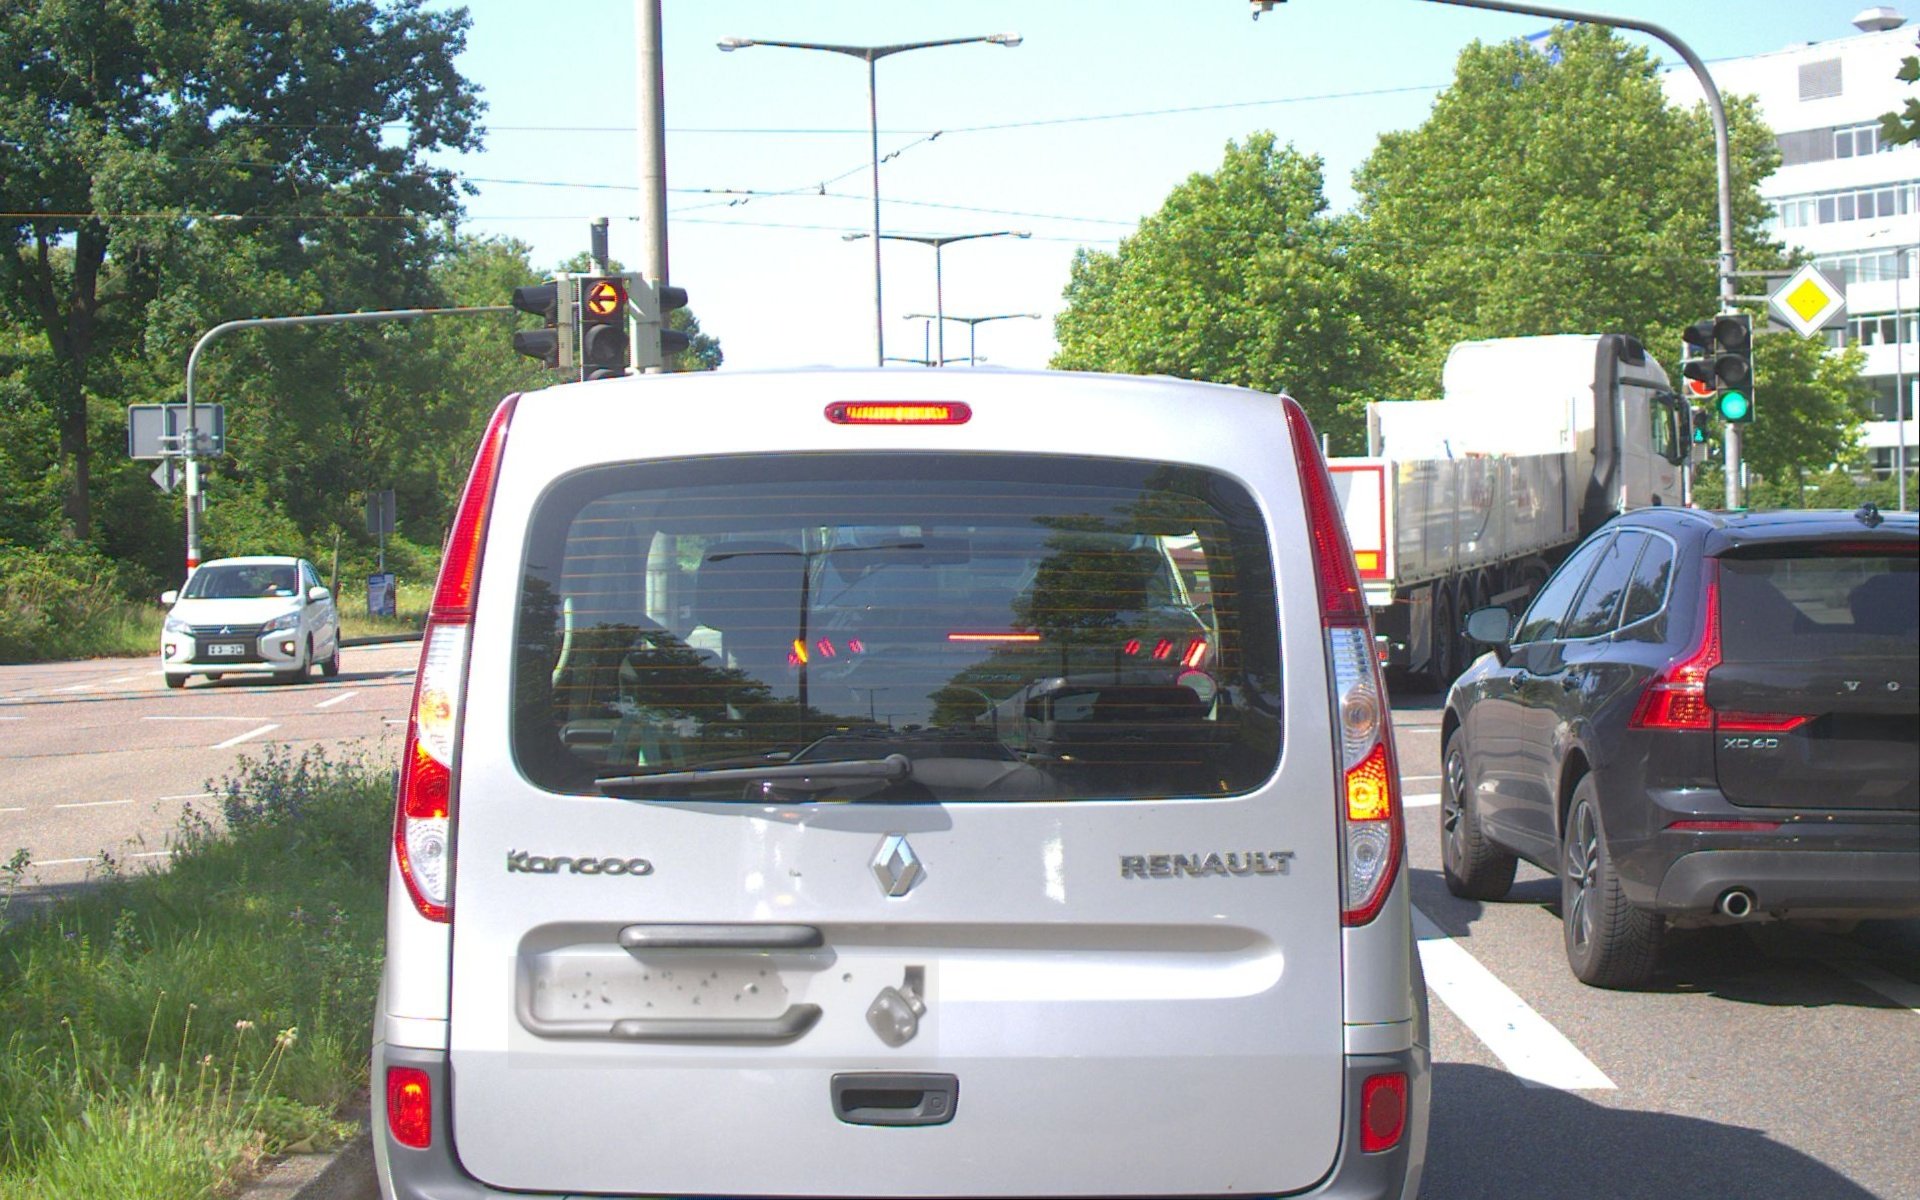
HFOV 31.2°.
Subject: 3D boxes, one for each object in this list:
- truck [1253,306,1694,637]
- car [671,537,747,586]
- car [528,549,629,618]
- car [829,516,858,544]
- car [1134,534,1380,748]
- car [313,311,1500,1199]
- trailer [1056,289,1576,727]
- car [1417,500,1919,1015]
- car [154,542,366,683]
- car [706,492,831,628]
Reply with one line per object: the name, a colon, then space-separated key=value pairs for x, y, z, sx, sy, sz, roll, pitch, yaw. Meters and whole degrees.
truck: x=6.378 y=-1.447 z=41.639 sx=2.915 sy=3.630 sz=7.178 roll=1 pitch=1 yaw=29
car: x=-8.225 y=-1.251 z=113.053 sx=1.994 sy=1.535 sz=4.236 roll=-1 pitch=0 yaw=2
car: x=-9.409 y=-0.414 z=85.021 sx=1.911 sy=1.636 sz=3.737 roll=-1 pitch=0 yaw=2
car: x=-8.496 y=-5.088 z=250.794 sx=1.888 sy=2.007 sz=4.000 roll=1 pitch=1 yaw=2
car: x=2.212 y=0.279 z=26.268 sx=1.538 sy=1.509 sz=3.260 roll=1 pitch=1 yaw=-1
car: x=-0.107 y=0.469 z=7.234 sx=1.786 sy=1.831 sz=4.000 roll=1 pitch=1 yaw=-1
trailer: x=4.034 y=-0.821 z=34.839 sx=2.902 sy=3.610 sz=12.675 roll=1 pitch=1 yaw=17
car: x=2.983 y=0.472 z=12.892 sx=1.875 sy=1.586 sz=4.434 roll=1 pitch=1 yaw=-1
car: x=-8.208 y=0.104 z=40.632 sx=1.699 sy=1.503 sz=4.000 roll=-1 pitch=2 yaw=-1
car: x=-3.833 y=-0.799 z=69.599 sx=1.994 sy=2.598 sz=5.133 roll=-1 pitch=0 yaw=2
